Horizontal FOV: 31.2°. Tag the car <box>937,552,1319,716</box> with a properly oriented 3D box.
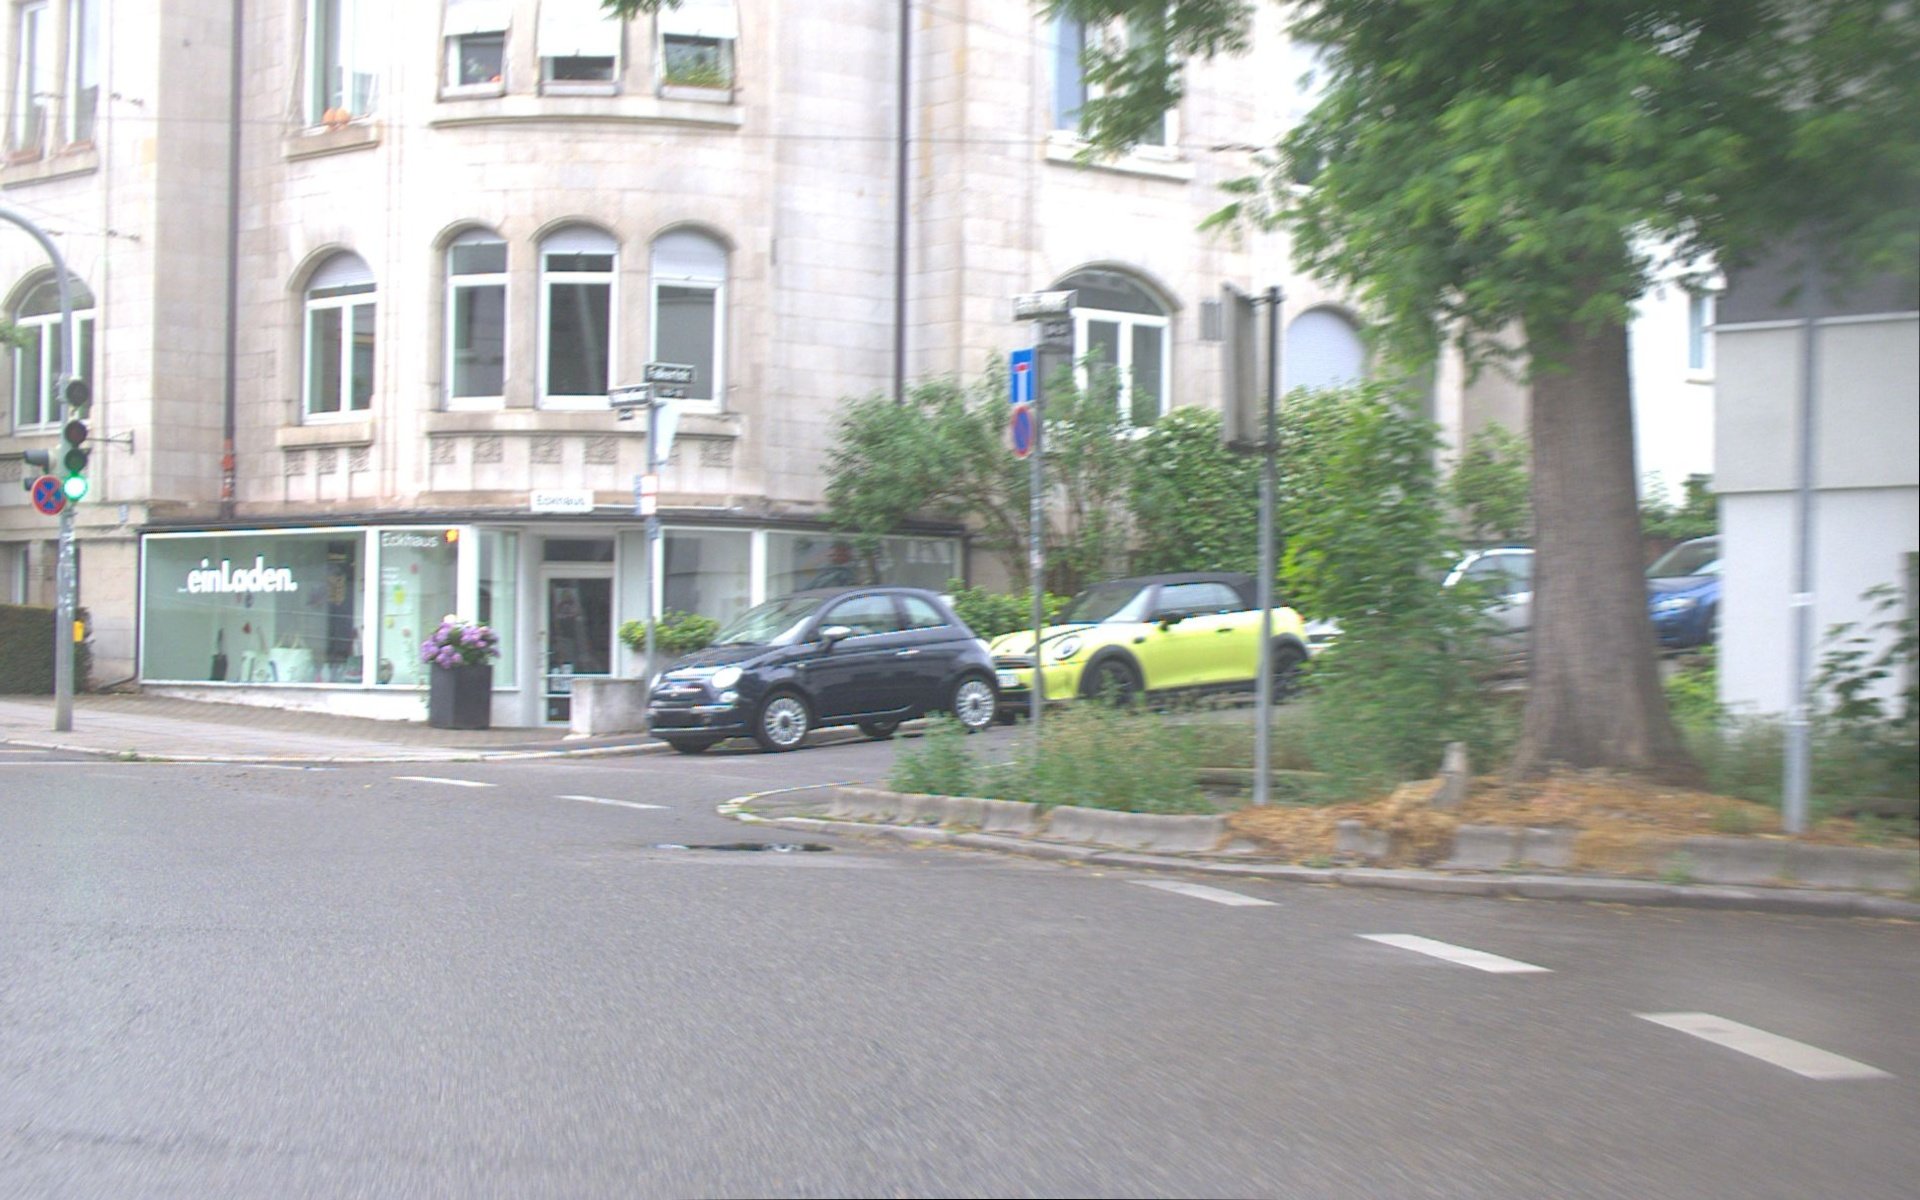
[{"bbox_3d":[1.751,0.310,35.299,3.660,1.503,1.737,-3,2,-38],"label":"car"}]

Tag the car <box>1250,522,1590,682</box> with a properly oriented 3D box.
[{"bbox_3d":[5.136,0.008,38.128,3.763,1.502,1.623,-4,1,-43],"label":"car"}]

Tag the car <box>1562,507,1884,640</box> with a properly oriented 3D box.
[{"bbox_3d":[9.240,-0.288,41.547,3.885,1.503,1.623,1,-2,-36],"label":"car"}]

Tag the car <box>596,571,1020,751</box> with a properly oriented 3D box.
[{"bbox_3d":[-1.414,0.530,32.598,3.660,1.503,1.737,-3,2,-38],"label":"car"}]
